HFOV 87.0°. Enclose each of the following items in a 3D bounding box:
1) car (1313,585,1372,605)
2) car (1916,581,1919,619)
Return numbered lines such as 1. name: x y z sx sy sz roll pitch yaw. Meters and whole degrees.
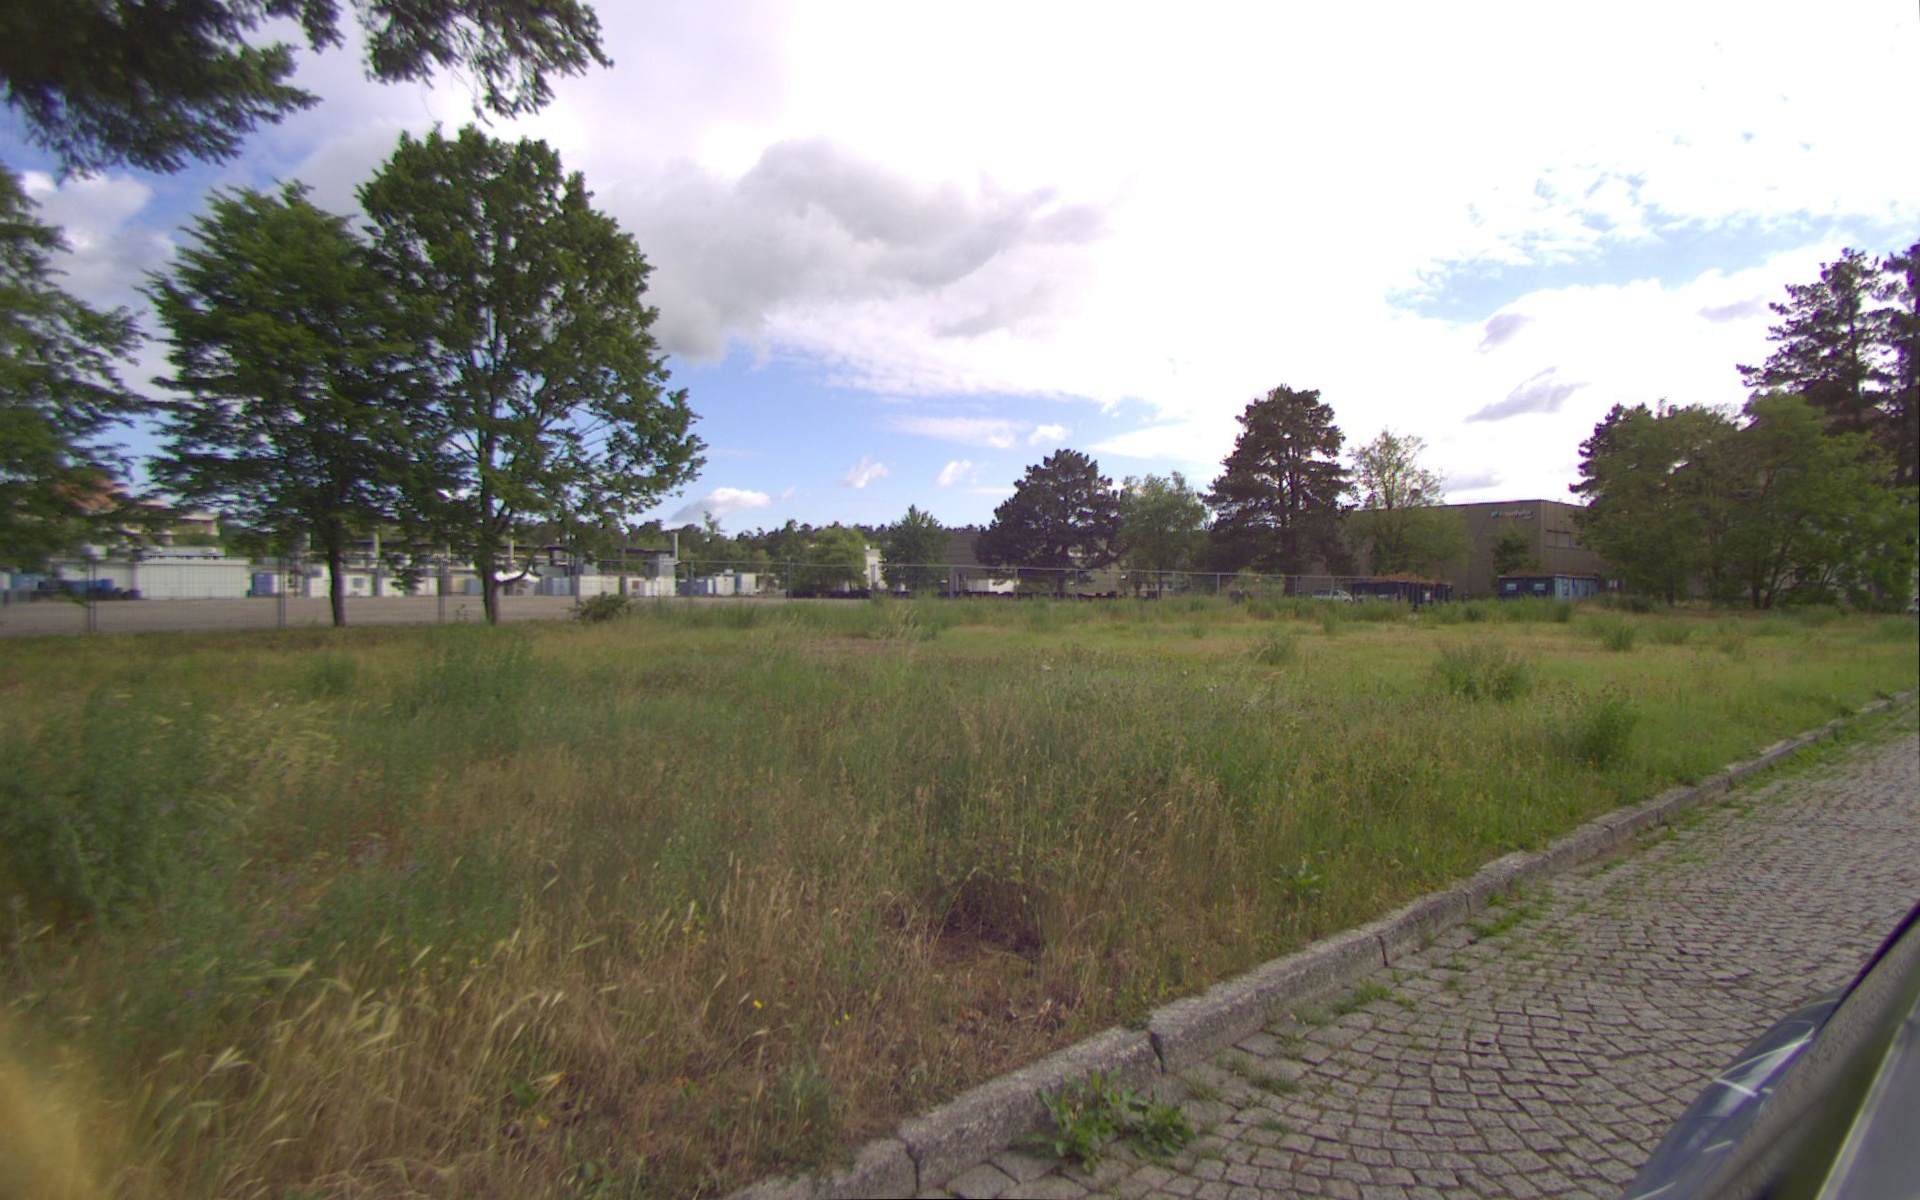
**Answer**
1. car: 30.785 -0.422 81.486 1.939 1.501 3.992 0 1 -42
2. car: 41.461 0.119 40.807 1.773 1.533 4.081 0 3 -42
